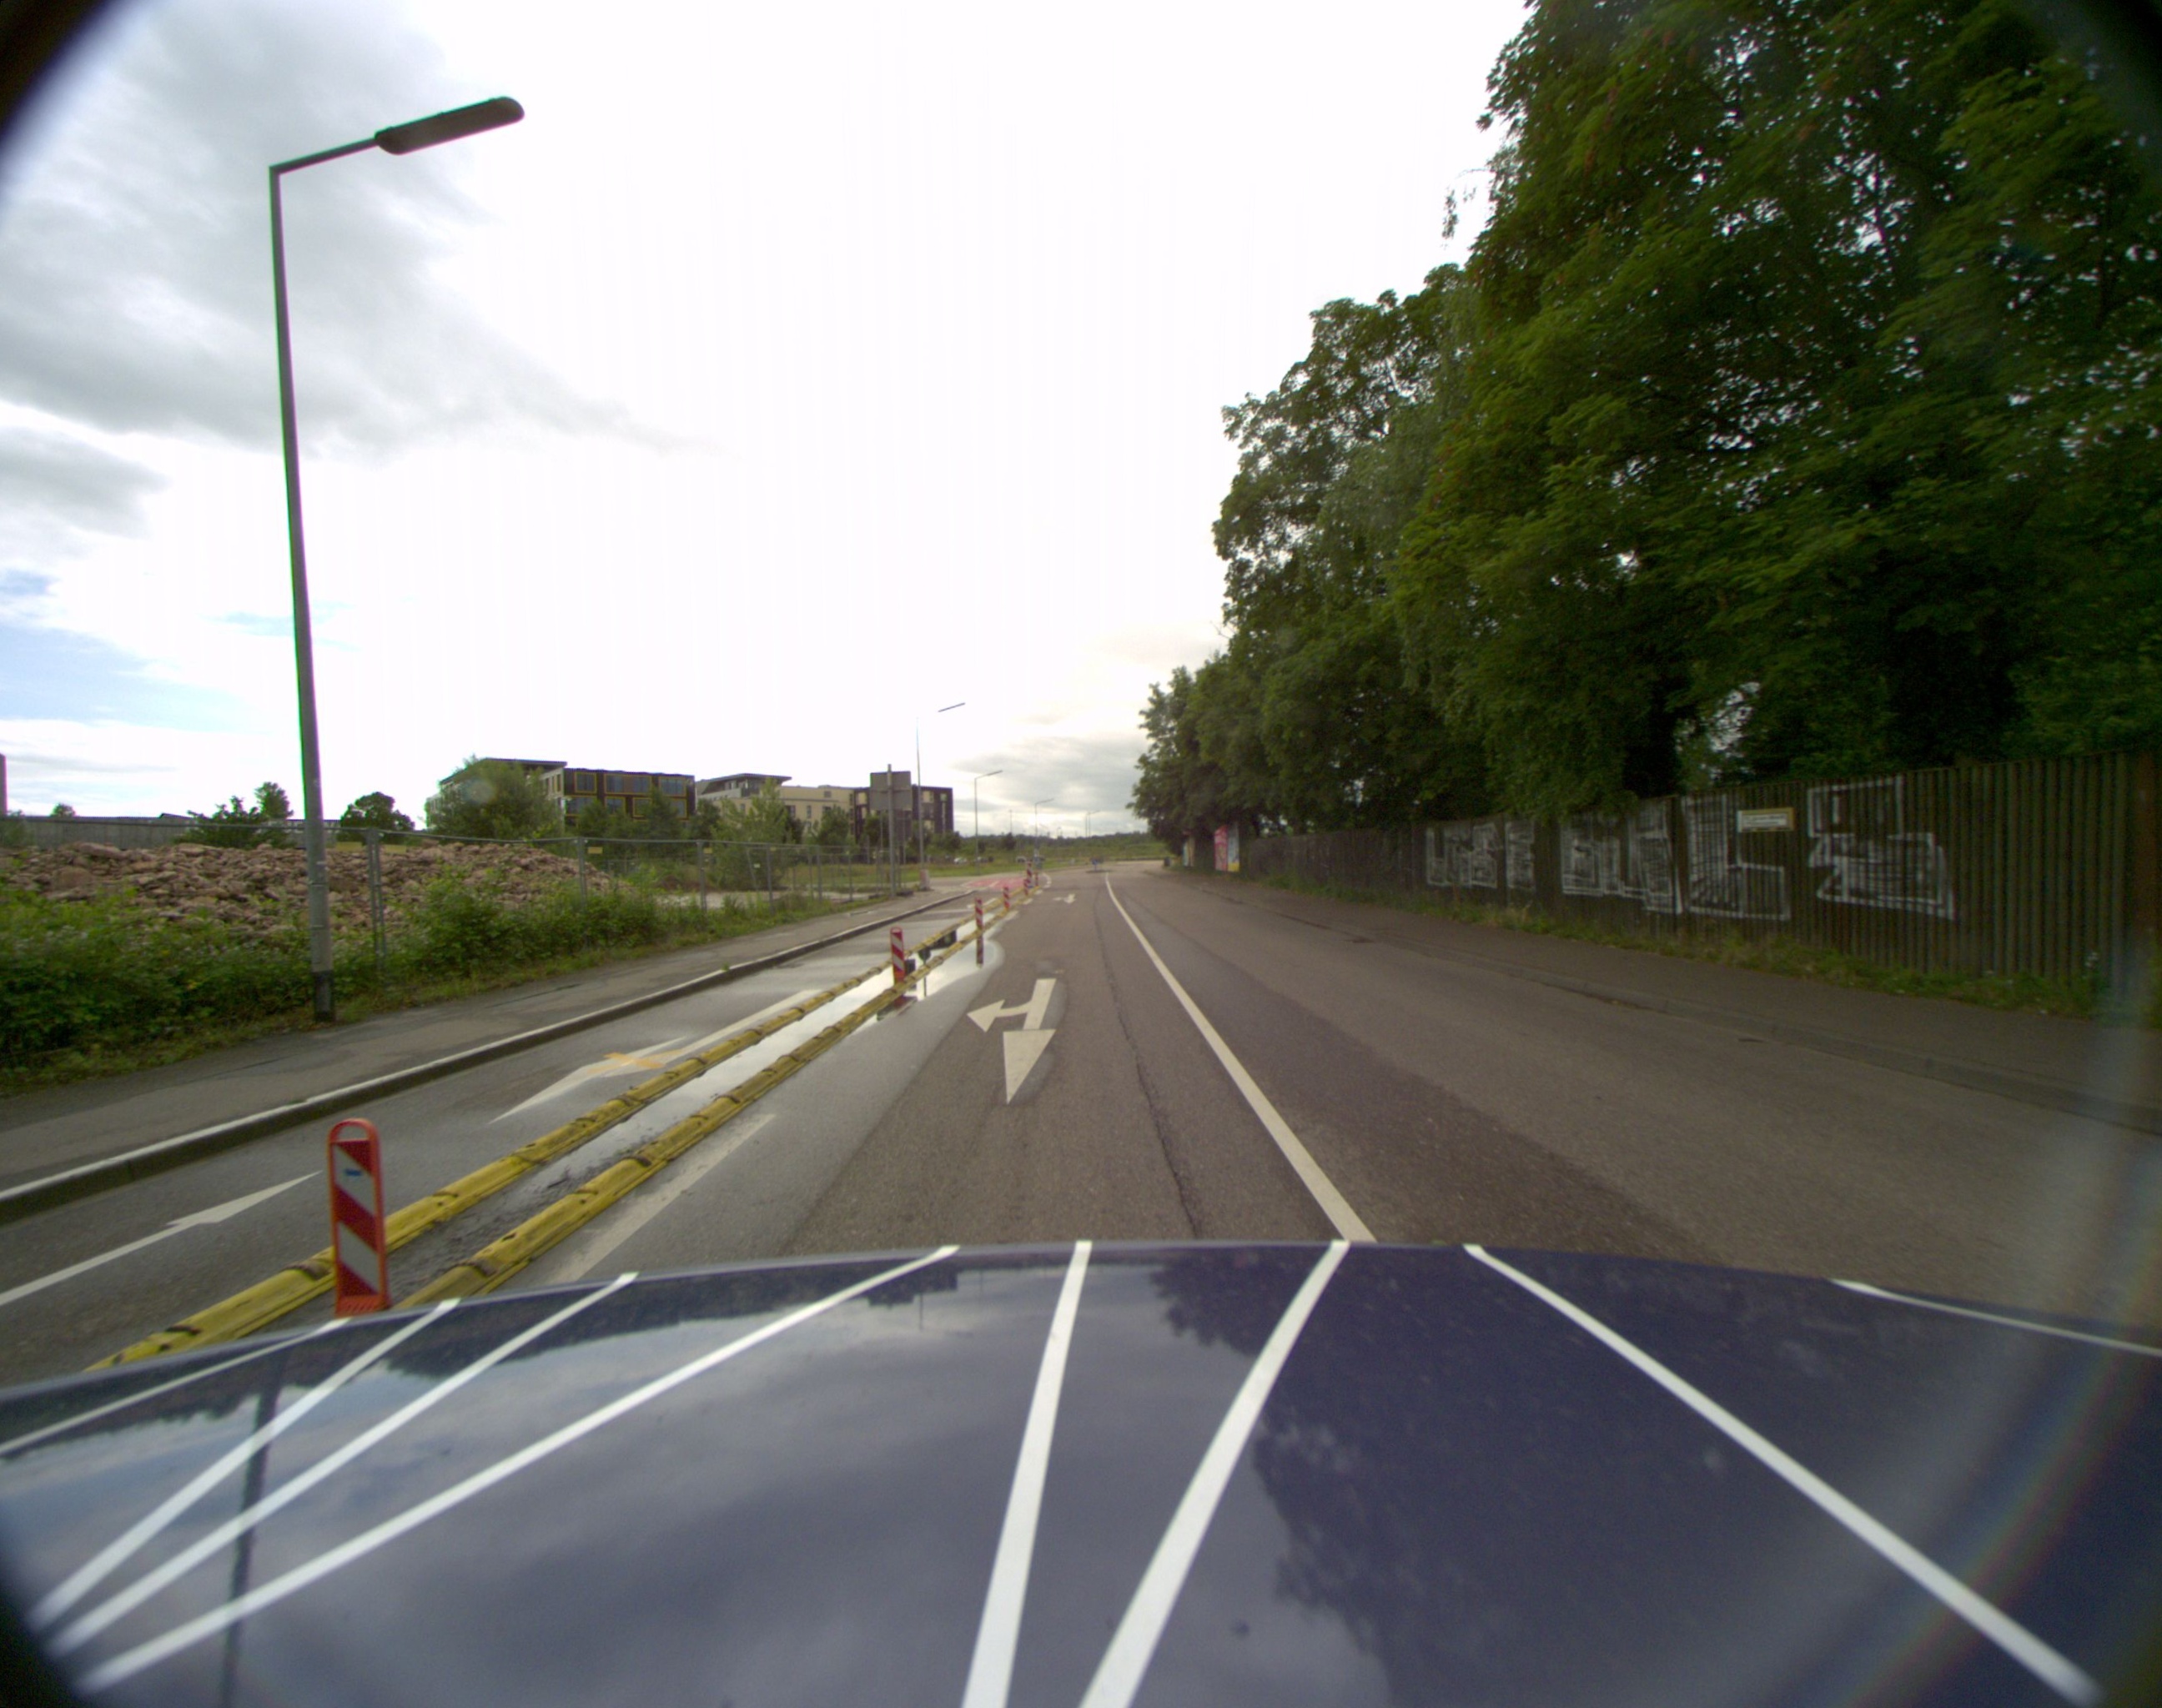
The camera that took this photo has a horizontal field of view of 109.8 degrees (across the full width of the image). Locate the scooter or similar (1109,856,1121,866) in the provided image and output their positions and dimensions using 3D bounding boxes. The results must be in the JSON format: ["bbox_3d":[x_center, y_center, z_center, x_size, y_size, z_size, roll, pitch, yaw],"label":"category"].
[{"bbox_3d":[3.833,0.782,85.245,1.171,1.179,0.447,-1,1,26],"label":"scooter or similar"}]

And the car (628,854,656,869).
[{"bbox_3d":[-61.387,1.089,106.251,3.988,2.002,2.004,-1,0,40],"label":"car"}]

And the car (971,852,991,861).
[{"bbox_3d":[-22.328,0.490,169.605,1.994,2.002,4.008,-1,0,42],"label":"car"}]

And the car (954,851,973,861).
[{"bbox_3d":[-27.007,0.451,174.891,1.994,2.002,4.008,-1,0,42],"label":"car"}]

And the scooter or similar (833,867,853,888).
[{"bbox_3d":[-13.731,1.359,43.758,1.323,1.179,0.447,-1,1,41],"label":"scooter or similar"}]

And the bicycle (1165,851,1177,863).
[{"bbox_3d":[8.770,0.289,73.920,0.583,0.992,1.773,-4,0,28],"label":"bicycle"}]
